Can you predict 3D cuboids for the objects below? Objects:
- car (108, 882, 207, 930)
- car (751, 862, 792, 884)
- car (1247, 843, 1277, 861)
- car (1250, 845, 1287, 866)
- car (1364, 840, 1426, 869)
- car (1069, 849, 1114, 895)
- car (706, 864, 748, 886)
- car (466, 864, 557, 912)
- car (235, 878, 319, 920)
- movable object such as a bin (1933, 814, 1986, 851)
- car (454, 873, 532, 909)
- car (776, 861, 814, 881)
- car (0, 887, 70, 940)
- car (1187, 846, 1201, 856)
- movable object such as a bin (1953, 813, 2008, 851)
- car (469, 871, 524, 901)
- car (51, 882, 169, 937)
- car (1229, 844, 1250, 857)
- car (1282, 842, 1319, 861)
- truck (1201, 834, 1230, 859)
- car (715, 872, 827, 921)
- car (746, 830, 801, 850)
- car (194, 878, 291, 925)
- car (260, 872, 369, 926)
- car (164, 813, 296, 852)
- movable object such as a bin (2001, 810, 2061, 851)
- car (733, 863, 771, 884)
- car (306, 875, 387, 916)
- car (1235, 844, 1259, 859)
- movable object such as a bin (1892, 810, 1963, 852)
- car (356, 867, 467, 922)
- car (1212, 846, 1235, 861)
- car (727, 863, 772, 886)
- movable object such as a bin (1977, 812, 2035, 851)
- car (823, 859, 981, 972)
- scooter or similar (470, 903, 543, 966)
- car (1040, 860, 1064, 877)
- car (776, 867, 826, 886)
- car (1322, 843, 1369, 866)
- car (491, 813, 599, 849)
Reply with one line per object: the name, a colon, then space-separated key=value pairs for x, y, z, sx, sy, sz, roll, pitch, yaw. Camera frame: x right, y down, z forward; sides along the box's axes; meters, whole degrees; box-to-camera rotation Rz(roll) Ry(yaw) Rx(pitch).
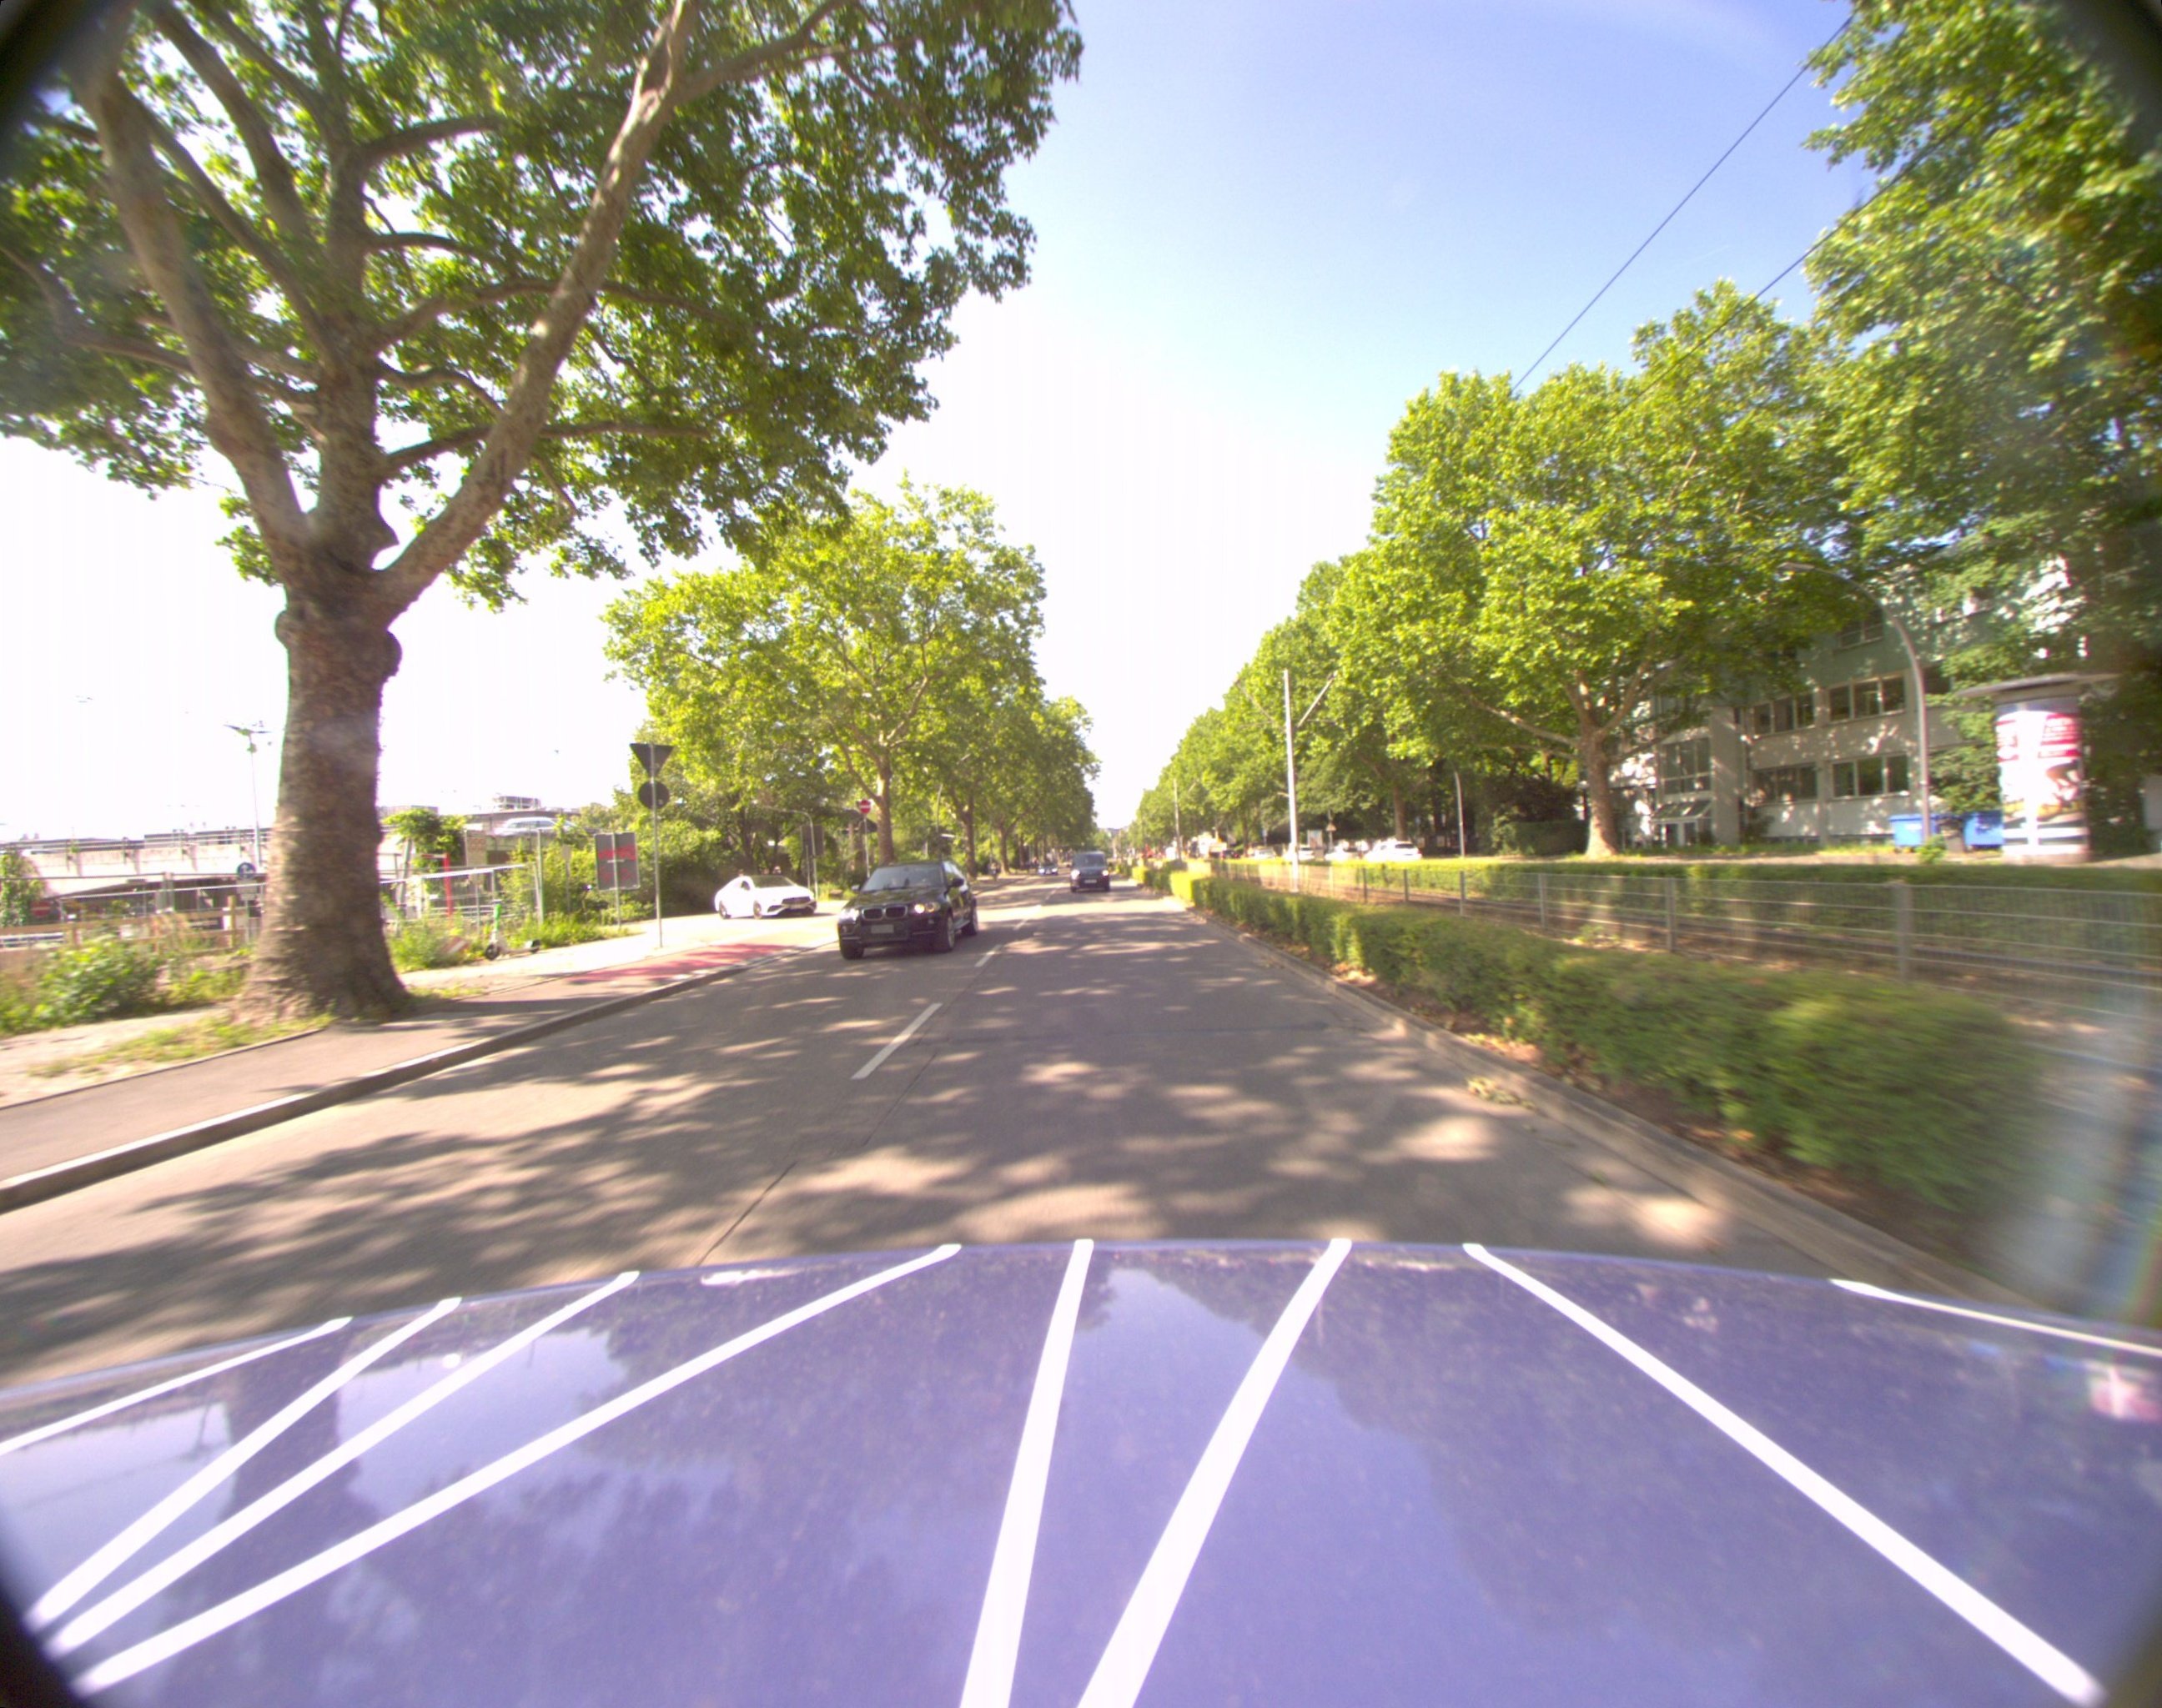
car: x=-59.572 y=3.331 z=49.064 sx=3.997 sy=2.723 sz=1.809 roll=-3 pitch=0 yaw=-1
car: x=-36.859 y=2.228 z=90.543 sx=3.997 sy=2.308 sz=1.809 roll=-3 pitch=0 yaw=-1
car: x=17.137 y=-0.186 z=72.258 sx=1.860 sy=1.572 sz=4.000 roll=-3 pitch=0 yaw=1
car: x=14.618 y=0.108 z=59.482 sx=1.860 sy=1.445 sz=4.000 roll=-3 pitch=0 yaw=1
car: x=17.399 y=0.015 z=42.296 sx=1.819 sy=1.482 sz=3.913 roll=-1 pitch=0 yaw=1
car: x=0.522 y=0.754 z=34.036 sx=1.789 sy=1.839 sz=4.001 roll=-2 pitch=0 yaw=3
car: x=-42.075 y=2.500 z=90.397 sx=3.997 sy=2.308 sz=1.809 roll=-3 pitch=0 yaw=-1
car: x=-36.844 y=2.171 z=49.236 sx=4.375 sy=2.723 sz=1.809 roll=-3 pitch=0 yaw=-1
car: x=-59.271 y=3.293 z=56.054 sx=3.997 sy=2.723 sz=1.809 roll=-3 pitch=0 yaw=-1
movable object such as a bin: x=25.843 y=-0.633 z=22.362 sx=0.898 sy=1.031 sz=0.546 roll=-3 pitch=0 yaw=1
car: x=-42.408 y=2.631 z=54.853 sx=3.997 sy=2.308 sz=1.809 roll=-3 pitch=0 yaw=-1
car: x=-36.676 y=2.197 z=97.406 sx=3.997 sy=2.308 sz=1.809 roll=-3 pitch=0 yaw=-1
car: x=-59.622 y=3.355 z=42.322 sx=3.997 sy=2.723 sz=1.809 roll=-3 pitch=0 yaw=-1
car: x=19.265 y=-0.487 z=129.780 sx=1.752 sy=1.445 sz=3.865 roll=-3 pitch=0 yaw=1
movable object such as a bin: x=25.798 y=-0.629 z=21.798 sx=0.898 sy=1.031 sz=0.546 roll=-3 pitch=0 yaw=1
car: x=-59.220 y=3.223 z=76.976 sx=3.997 sy=2.723 sz=1.809 roll=-3 pitch=0 yaw=-1
car: x=-53.855 y=3.056 z=42.183 sx=3.997 sy=2.723 sz=1.809 roll=-3 pitch=0 yaw=-1
car: x=19.033 y=-0.364 z=91.363 sx=1.752 sy=1.445 sz=3.865 roll=-3 pitch=0 yaw=1
car: x=18.228 y=-0.181 z=63.188 sx=1.860 sy=1.445 sz=4.000 roll=-3 pitch=0 yaw=1
truck: x=18.628 y=-1.006 z=105.674 sx=2.751 sy=3.259 sz=6.541 roll=-3 pitch=0 yaw=1
car: x=-10.439 y=1.422 z=25.462 sx=3.989 sy=1.400 sz=1.900 roll=-3 pitch=0 yaw=43
car: x=-27.213 y=-1.201 z=67.283 sx=3.997 sy=1.501 sz=1.809 roll=-3 pitch=0 yaw=-1
car: x=-54.259 y=3.054 z=49.220 sx=3.997 sy=2.723 sz=1.809 roll=-3 pitch=0 yaw=-1
car: x=-42.658 y=2.476 z=42.354 sx=3.997 sy=2.723 sz=1.809 roll=-3 pitch=0 yaw=-1
car: x=-39.872 y=-0.984 z=35.677 sx=3.997 sy=1.501 sz=1.809 roll=-3 pitch=0 yaw=-1
movable object such as a bin: x=25.778 y=-0.624 z=20.626 sx=0.898 sy=1.031 sz=0.546 roll=-3 pitch=0 yaw=1
car: x=-42.090 y=2.479 z=97.299 sx=3.997 sy=2.308 sz=1.809 roll=-3 pitch=0 yaw=-1
car: x=-54.207 y=3.030 z=56.107 sx=3.997 sy=2.723 sz=1.809 roll=-3 pitch=0 yaw=-1
car: x=17.897 y=-0.290 z=82.244 sx=1.701 sy=1.406 sz=3.892 roll=-6 pitch=0 yaw=1
movable object such as a bin: x=25.835 y=-0.693 z=23.224 sx=0.898 sy=1.182 sz=1.099 roll=-3 pitch=0 yaw=1
car: x=-37.107 y=2.207 z=42.207 sx=4.375 sy=2.723 sz=1.809 roll=-3 pitch=0 yaw=-1
car: x=15.523 y=-0.075 z=83.063 sx=1.701 sy=1.406 sz=3.892 roll=-6 pitch=0 yaw=1
car: x=-36.454 y=2.229 z=83.657 sx=3.997 sy=2.308 sz=1.809 roll=-3 pitch=0 yaw=-1
movable object such as a bin: x=25.797 y=-0.627 z=21.191 sx=0.898 sy=1.031 sz=0.546 roll=-3 pitch=0 yaw=1
car: x=-3.290 y=1.042 z=14.853 sx=1.924 sy=1.720 sz=4.151 roll=-4 pitch=0 yaw=1
scooter or similar: x=-11.361 y=1.569 z=15.058 sx=0.483 sy=1.115 sz=1.128 roll=-3 pitch=0 yaw=2
car: x=-2.845 y=1.391 z=75.085 sx=1.854 sy=1.418 sz=4.152 roll=-4 pitch=0 yaw=3
car: x=-26.734 y=2.164 z=72.617 sx=3.997 sy=1.501 sz=1.809 roll=-3 pitch=0 yaw=-1
car: x=18.304 y=0.037 z=52.734 sx=1.856 sy=1.445 sz=4.000 roll=-3 pitch=0 yaw=1
car: x=-26.767 y=-1.130 z=38.058 sx=3.997 sy=1.501 sz=1.809 roll=-3 pitch=0 yaw=-1
